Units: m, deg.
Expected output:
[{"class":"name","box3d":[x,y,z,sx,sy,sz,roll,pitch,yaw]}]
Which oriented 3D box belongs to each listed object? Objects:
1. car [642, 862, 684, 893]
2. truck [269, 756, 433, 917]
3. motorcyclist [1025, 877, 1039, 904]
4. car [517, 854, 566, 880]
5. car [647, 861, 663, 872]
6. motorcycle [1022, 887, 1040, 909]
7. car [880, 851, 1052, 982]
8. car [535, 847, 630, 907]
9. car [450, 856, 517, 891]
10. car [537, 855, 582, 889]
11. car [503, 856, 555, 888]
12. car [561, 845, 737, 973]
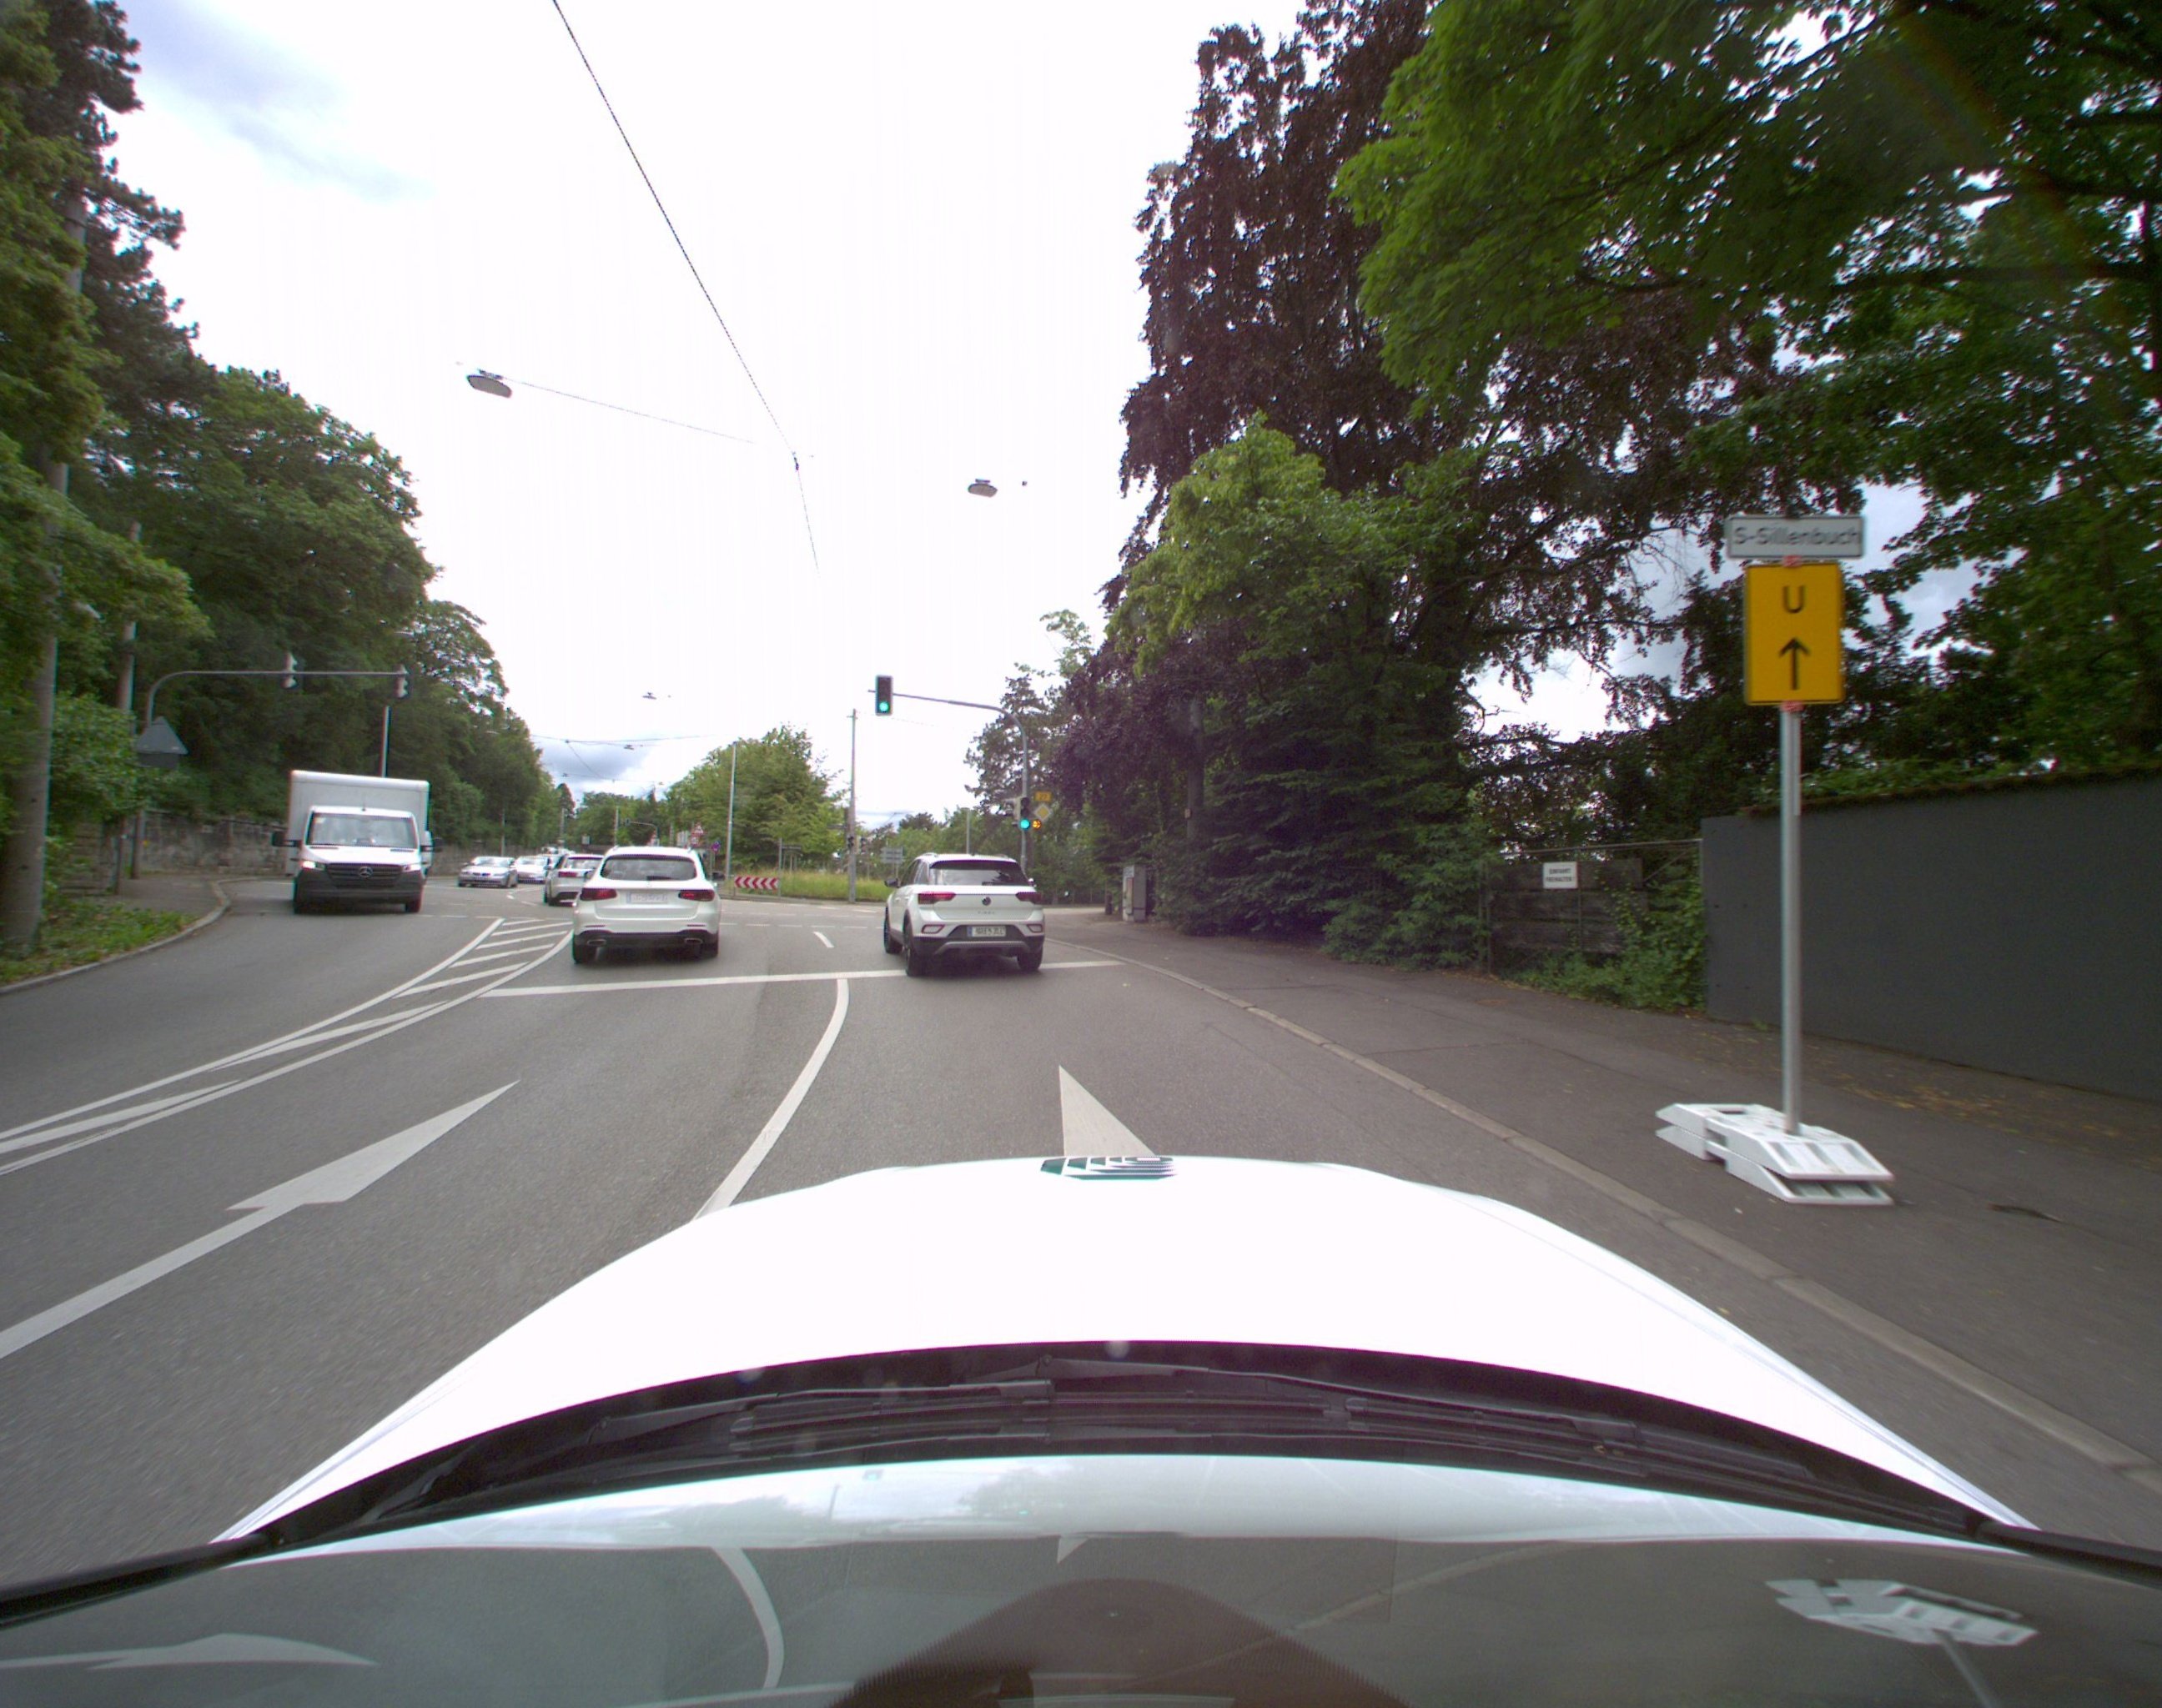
[{"class":"car","box3d":[-21.122,1.171,41.098,1.638,1.420,3.818,3,-2,-30]},{"class":"truck","box3d":[-16.594,-0.428,18.779,2.422,3.088,6.271,1,1,-40]},{"class":"motorcyclist","box3d":[-2.621,1.974,43.782,0.596,1.430,0.759,-1,-2,10]},{"class":"car","box3d":[-35.623,0.870,53.904,1.902,1.567,4.442,5,-3,-25]},{"class":"car","box3d":[-56.305,1.619,107.692,1.657,1.451,3.512,3,-2,-30]},{"class":"motorcycle","box3d":[-2.676,2.360,43.770,0.595,1.152,1.585,-1,-2,10]},{"class":"car","box3d":[-1.886,0.746,12.036,1.760,1.553,4.310,0,0,-19]},{"class":"car","box3d":[-14.368,0.631,23.355,1.879,1.534,4.724,3,-2,-36]},{"class":"car","box3d":[-27.739,0.908,37.947,1.766,1.443,4.438,5,-3,-28]},{"class":"car","box3d":[-26.844,0.920,41.943,1.800,1.636,3.698,3,-2,-33]},{"class":"car","box3d":[-32.195,1.061,47.645,2.005,1.637,4.356,5,-4,-29]},{"class":"car","box3d":[-6.659,0.682,13.057,1.865,1.605,4.639,-1,1,-20]}]
